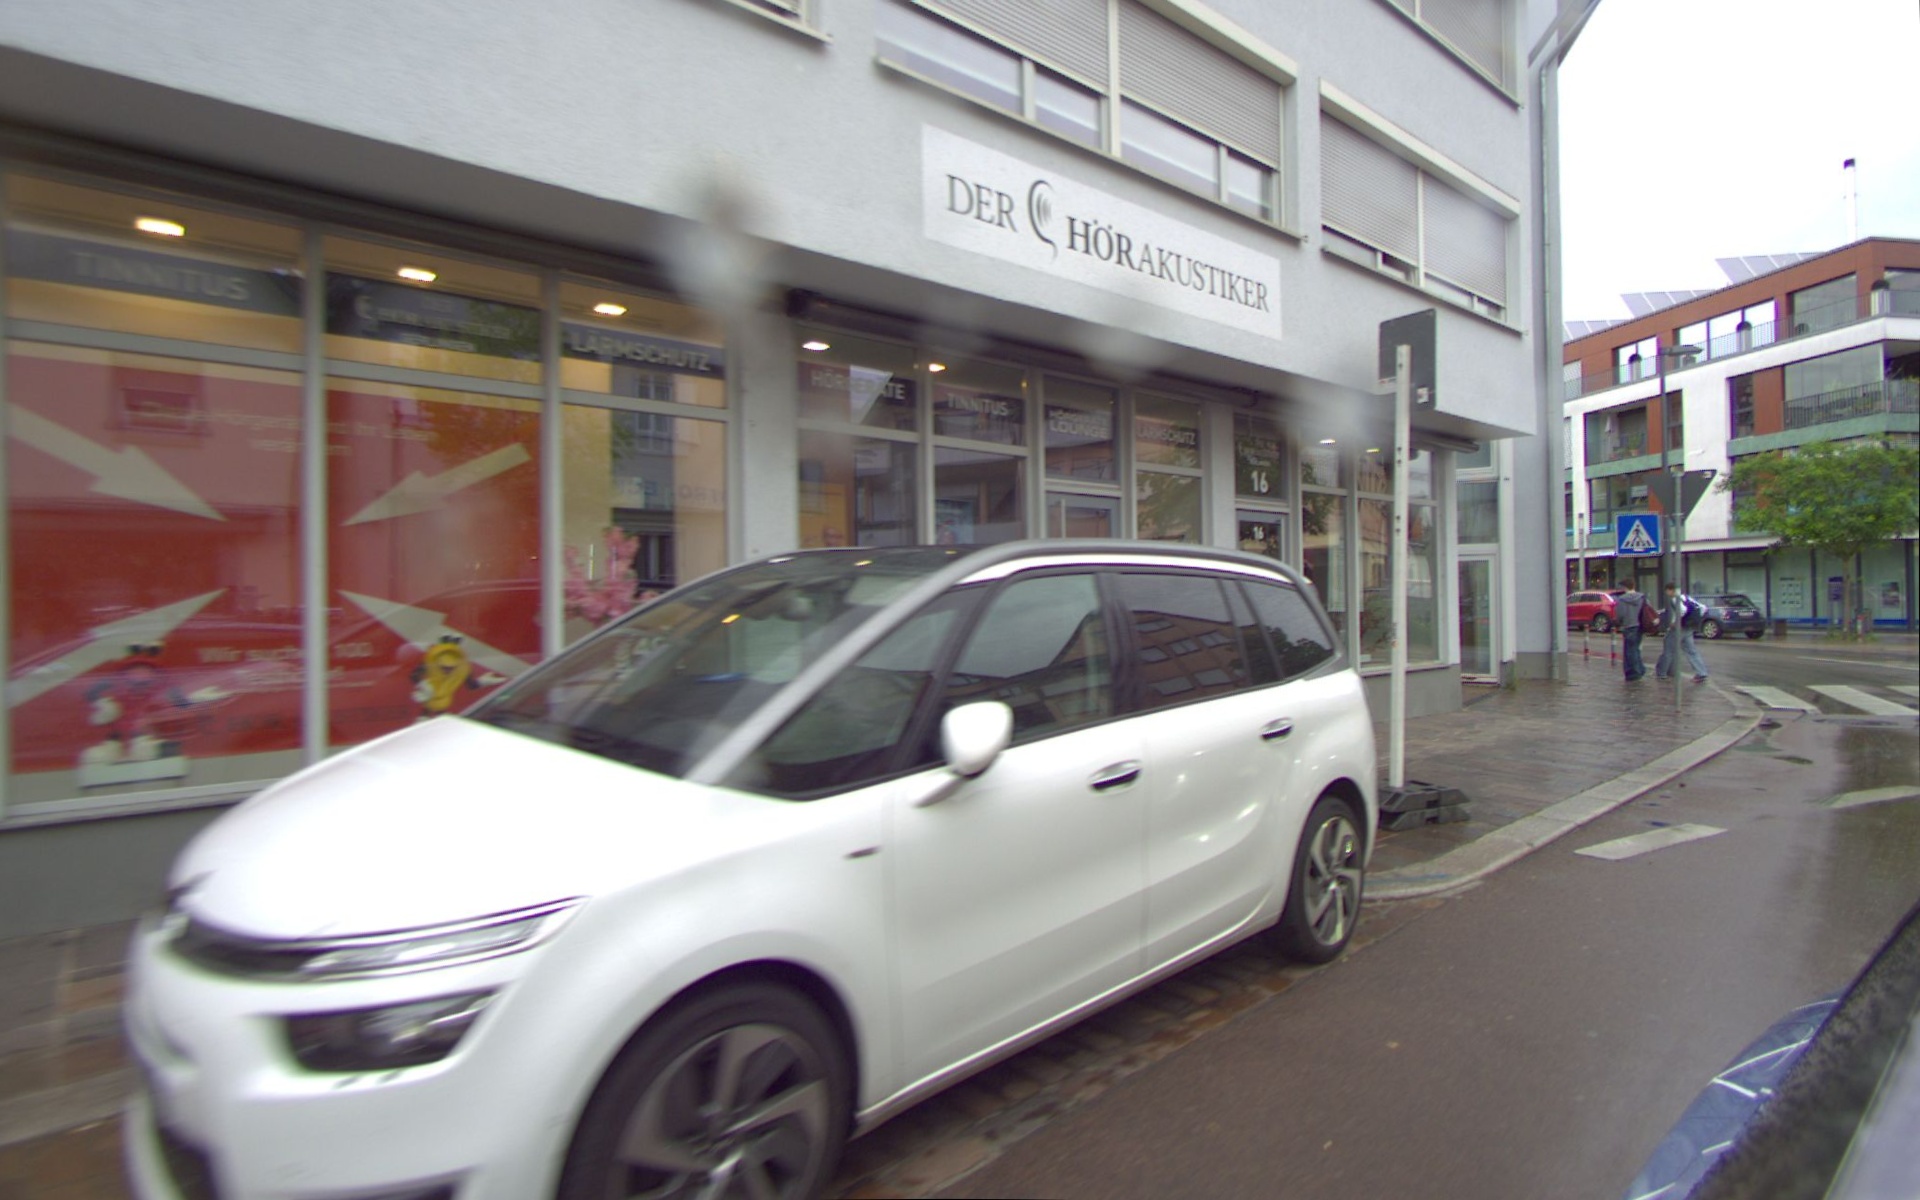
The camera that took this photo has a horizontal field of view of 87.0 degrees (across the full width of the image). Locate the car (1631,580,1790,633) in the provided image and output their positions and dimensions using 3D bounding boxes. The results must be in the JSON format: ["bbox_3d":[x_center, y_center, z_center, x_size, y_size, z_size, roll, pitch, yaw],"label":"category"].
[{"bbox_3d":[24.296,0.179,32.965,1.683,1.594,4.008,0,0,-13],"label":"car"}]

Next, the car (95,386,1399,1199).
[{"bbox_3d":[-0.166,0.533,3.509,1.690,1.711,4.209,0,0,45],"label":"car"}]

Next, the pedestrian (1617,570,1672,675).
[{"bbox_3d":[12.111,0.387,17.914,0.691,1.834,0.507,0,0,21],"label":"pedestrian"}]

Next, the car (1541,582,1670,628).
[{"bbox_3d":[23.937,0.150,37.685,1.683,1.594,4.008,0,0,-13],"label":"car"}]

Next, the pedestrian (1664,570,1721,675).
[{"bbox_3d":[13.017,0.384,18.002,0.665,1.834,0.676,0,0,21],"label":"pedestrian"}]
